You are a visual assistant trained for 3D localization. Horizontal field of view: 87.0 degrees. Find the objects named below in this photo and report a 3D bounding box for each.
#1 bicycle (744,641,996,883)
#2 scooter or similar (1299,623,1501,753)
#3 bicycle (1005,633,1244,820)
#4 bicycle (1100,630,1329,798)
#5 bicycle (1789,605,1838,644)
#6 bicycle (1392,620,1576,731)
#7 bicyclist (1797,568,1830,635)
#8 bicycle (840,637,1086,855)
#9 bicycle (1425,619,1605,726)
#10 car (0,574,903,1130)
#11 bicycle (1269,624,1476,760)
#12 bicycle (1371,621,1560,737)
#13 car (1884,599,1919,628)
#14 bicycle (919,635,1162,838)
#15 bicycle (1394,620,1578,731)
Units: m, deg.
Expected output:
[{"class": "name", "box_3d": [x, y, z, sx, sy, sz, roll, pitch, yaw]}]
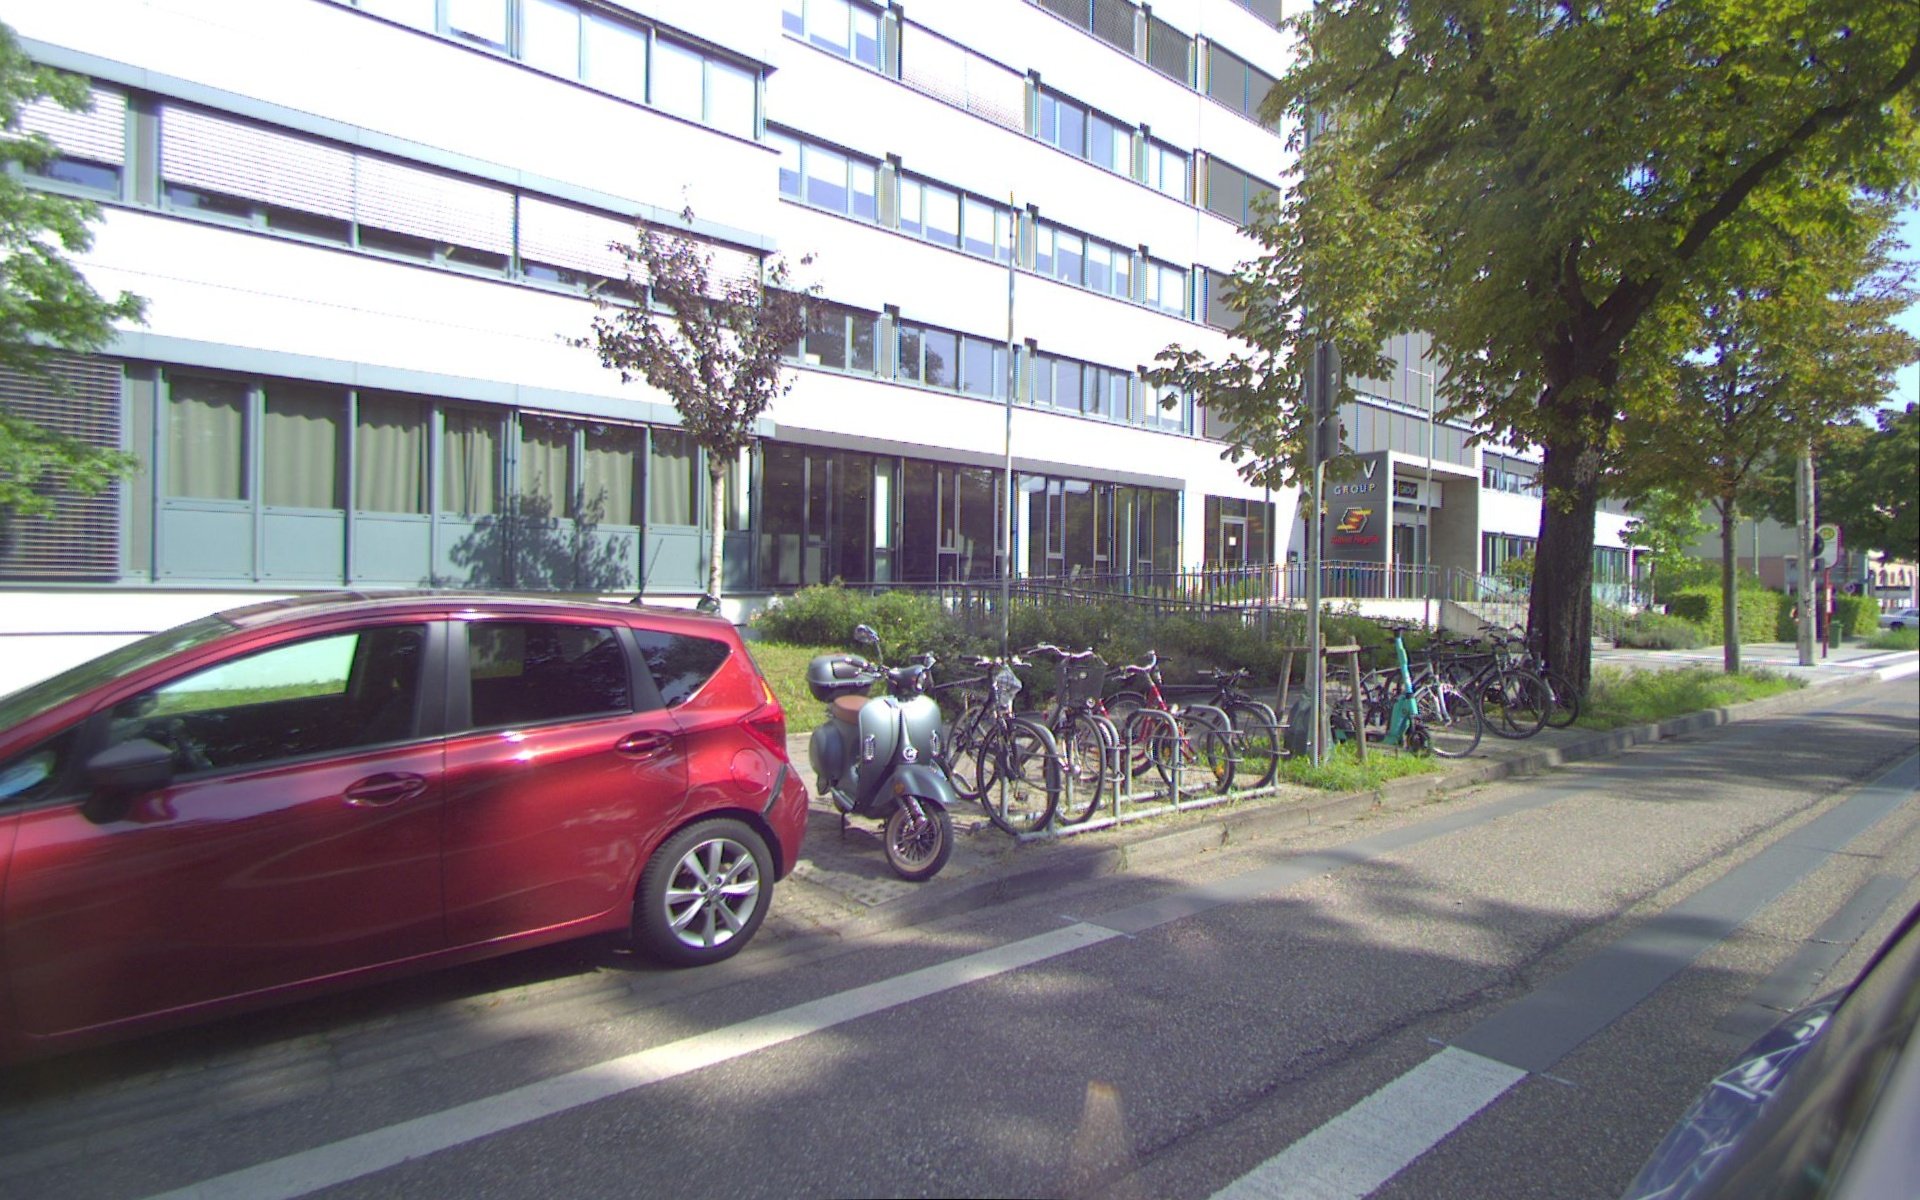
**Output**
[{"class": "bicycle", "box_3d": [-0.587, 0.840, 5.891, 0.531, 1.085, 1.775, 1, 1, -40]}, {"class": "scooter or similar", "box_3d": [4.311, 0.821, 10.036, 0.531, 1.085, 1.775, 1, 1, -40]}, {"class": "bicycle", "box_3d": [1.124, 0.833, 7.305, 0.531, 1.085, 1.775, 1, 1, -40]}, {"class": "bicycle", "box_3d": [1.953, 0.830, 8.000, 0.531, 1.085, 1.775, 1, 1, -40]}, {"class": "bicycle", "box_3d": [26.757, 0.740, 31.739, 1.134, 1.139, 2.500, 0, 0, 40]}, {"class": "bicycle", "box_3d": [5.911, 0.813, 11.511, 0.531, 1.085, 1.775, 1, 1, -40]}, {"class": "bicyclist", "box_3d": [26.672, 0.039, 31.650, 0.780, 2.039, 1.256, 0, 0, 40]}, {"class": "bicycle", "box_3d": [-0.043, 0.837, 6.427, 0.531, 1.085, 1.775, 1, 1, -40]}, {"class": "bicycle", "box_3d": [6.488, 0.812, 11.919, 0.531, 1.085, 1.775, 1, 1, -40]}, {"class": "car", "box_3d": [-2.436, 0.661, 3.969, 4.198, 1.480, 1.759, 0, 1, -40]}, {"class": "bicycle", "box_3d": [3.881, 0.822, 9.650, 0.531, 1.085, 1.775, 1, 1, -40]}, {"class": "bicycle", "box_3d": [5.503, 0.815, 11.113, 0.531, 1.085, 1.775, 1, 1, -40]}, {"class": "car", "box_3d": [53.385, 0.739, 55.027, 1.929, 1.534, 4.542, 0, 0, -44]}, {"class": "bicycle", "box_3d": [0.482, 0.835, 6.832, 0.531, 1.085, 1.775, 1, 1, -40]}, {"class": "bicycle", "box_3d": [5.935, 0.813, 11.517, 0.531, 1.085, 1.775, 1, 1, -40]}]
